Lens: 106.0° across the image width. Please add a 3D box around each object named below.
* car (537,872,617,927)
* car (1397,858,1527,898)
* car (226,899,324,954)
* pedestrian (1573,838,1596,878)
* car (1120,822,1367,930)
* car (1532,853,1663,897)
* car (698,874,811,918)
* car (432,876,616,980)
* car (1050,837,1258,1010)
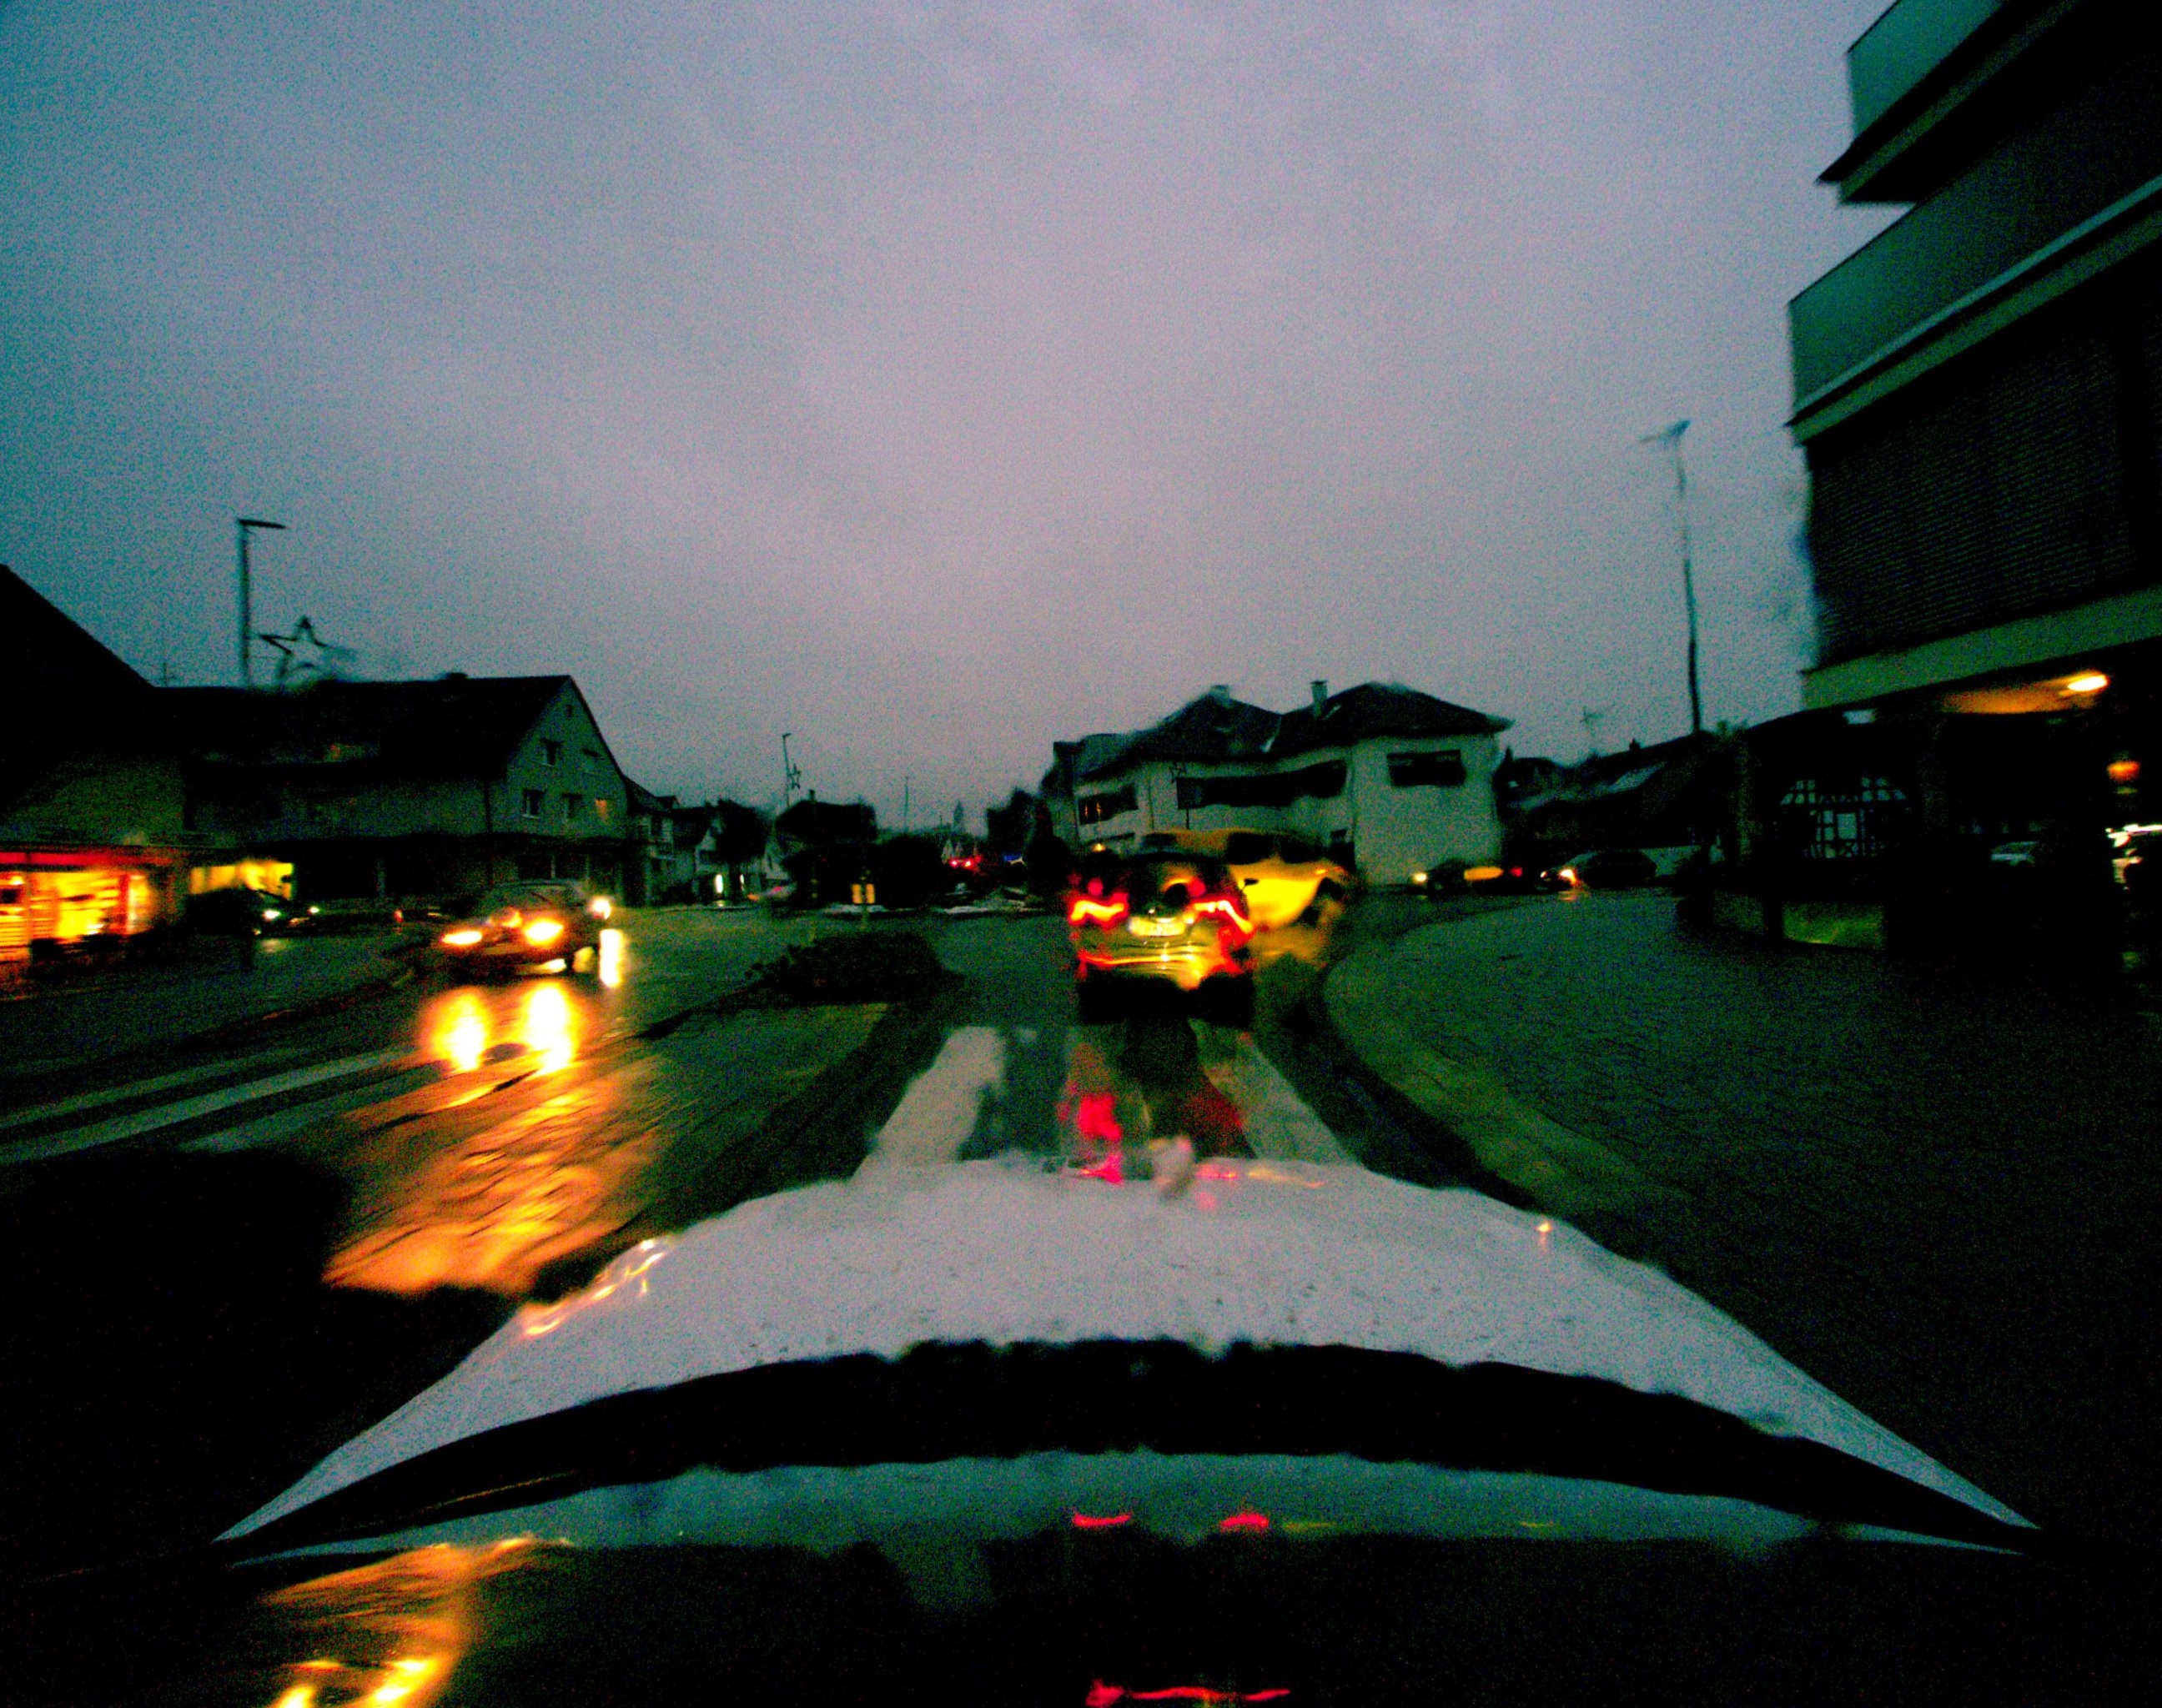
[{"bbox_3d":[-14.847,1.364,24.146,1.720,1.422,3.975,-1,-3,-28],"label":"car"},{"bbox_3d":[14.824,0.968,31.824,4.211,1.384,1.848,-2,-4,-3],"label":"car"},{"bbox_3d":[-28.979,2.534,29.242,4.572,1.593,1.966,-1,0,38],"label":"car"},{"bbox_3d":[23.834,0.180,38.545,0.711,1.832,0.639,-2,1,9],"label":"pedestrian"},{"bbox_3d":[3.496,0.412,17.488,4.904,2.014,1.985,-2,-1,-23],"label":"car"},{"bbox_3d":[20.117,0.840,31.818,3.974,1.552,1.696,-1,-3,0],"label":"car"},{"bbox_3d":[-13.691,1.753,34.336,4.049,1.662,1.700,-2,-1,-5],"label":"car"},{"bbox_3d":[-9.016,1.100,13.476,1.507,1.411,3.347,-2,-1,-16],"label":"car"},{"bbox_3d":[1.088,0.683,9.702,1.902,1.615,3.964,-2,-1,13],"label":"car"}]
